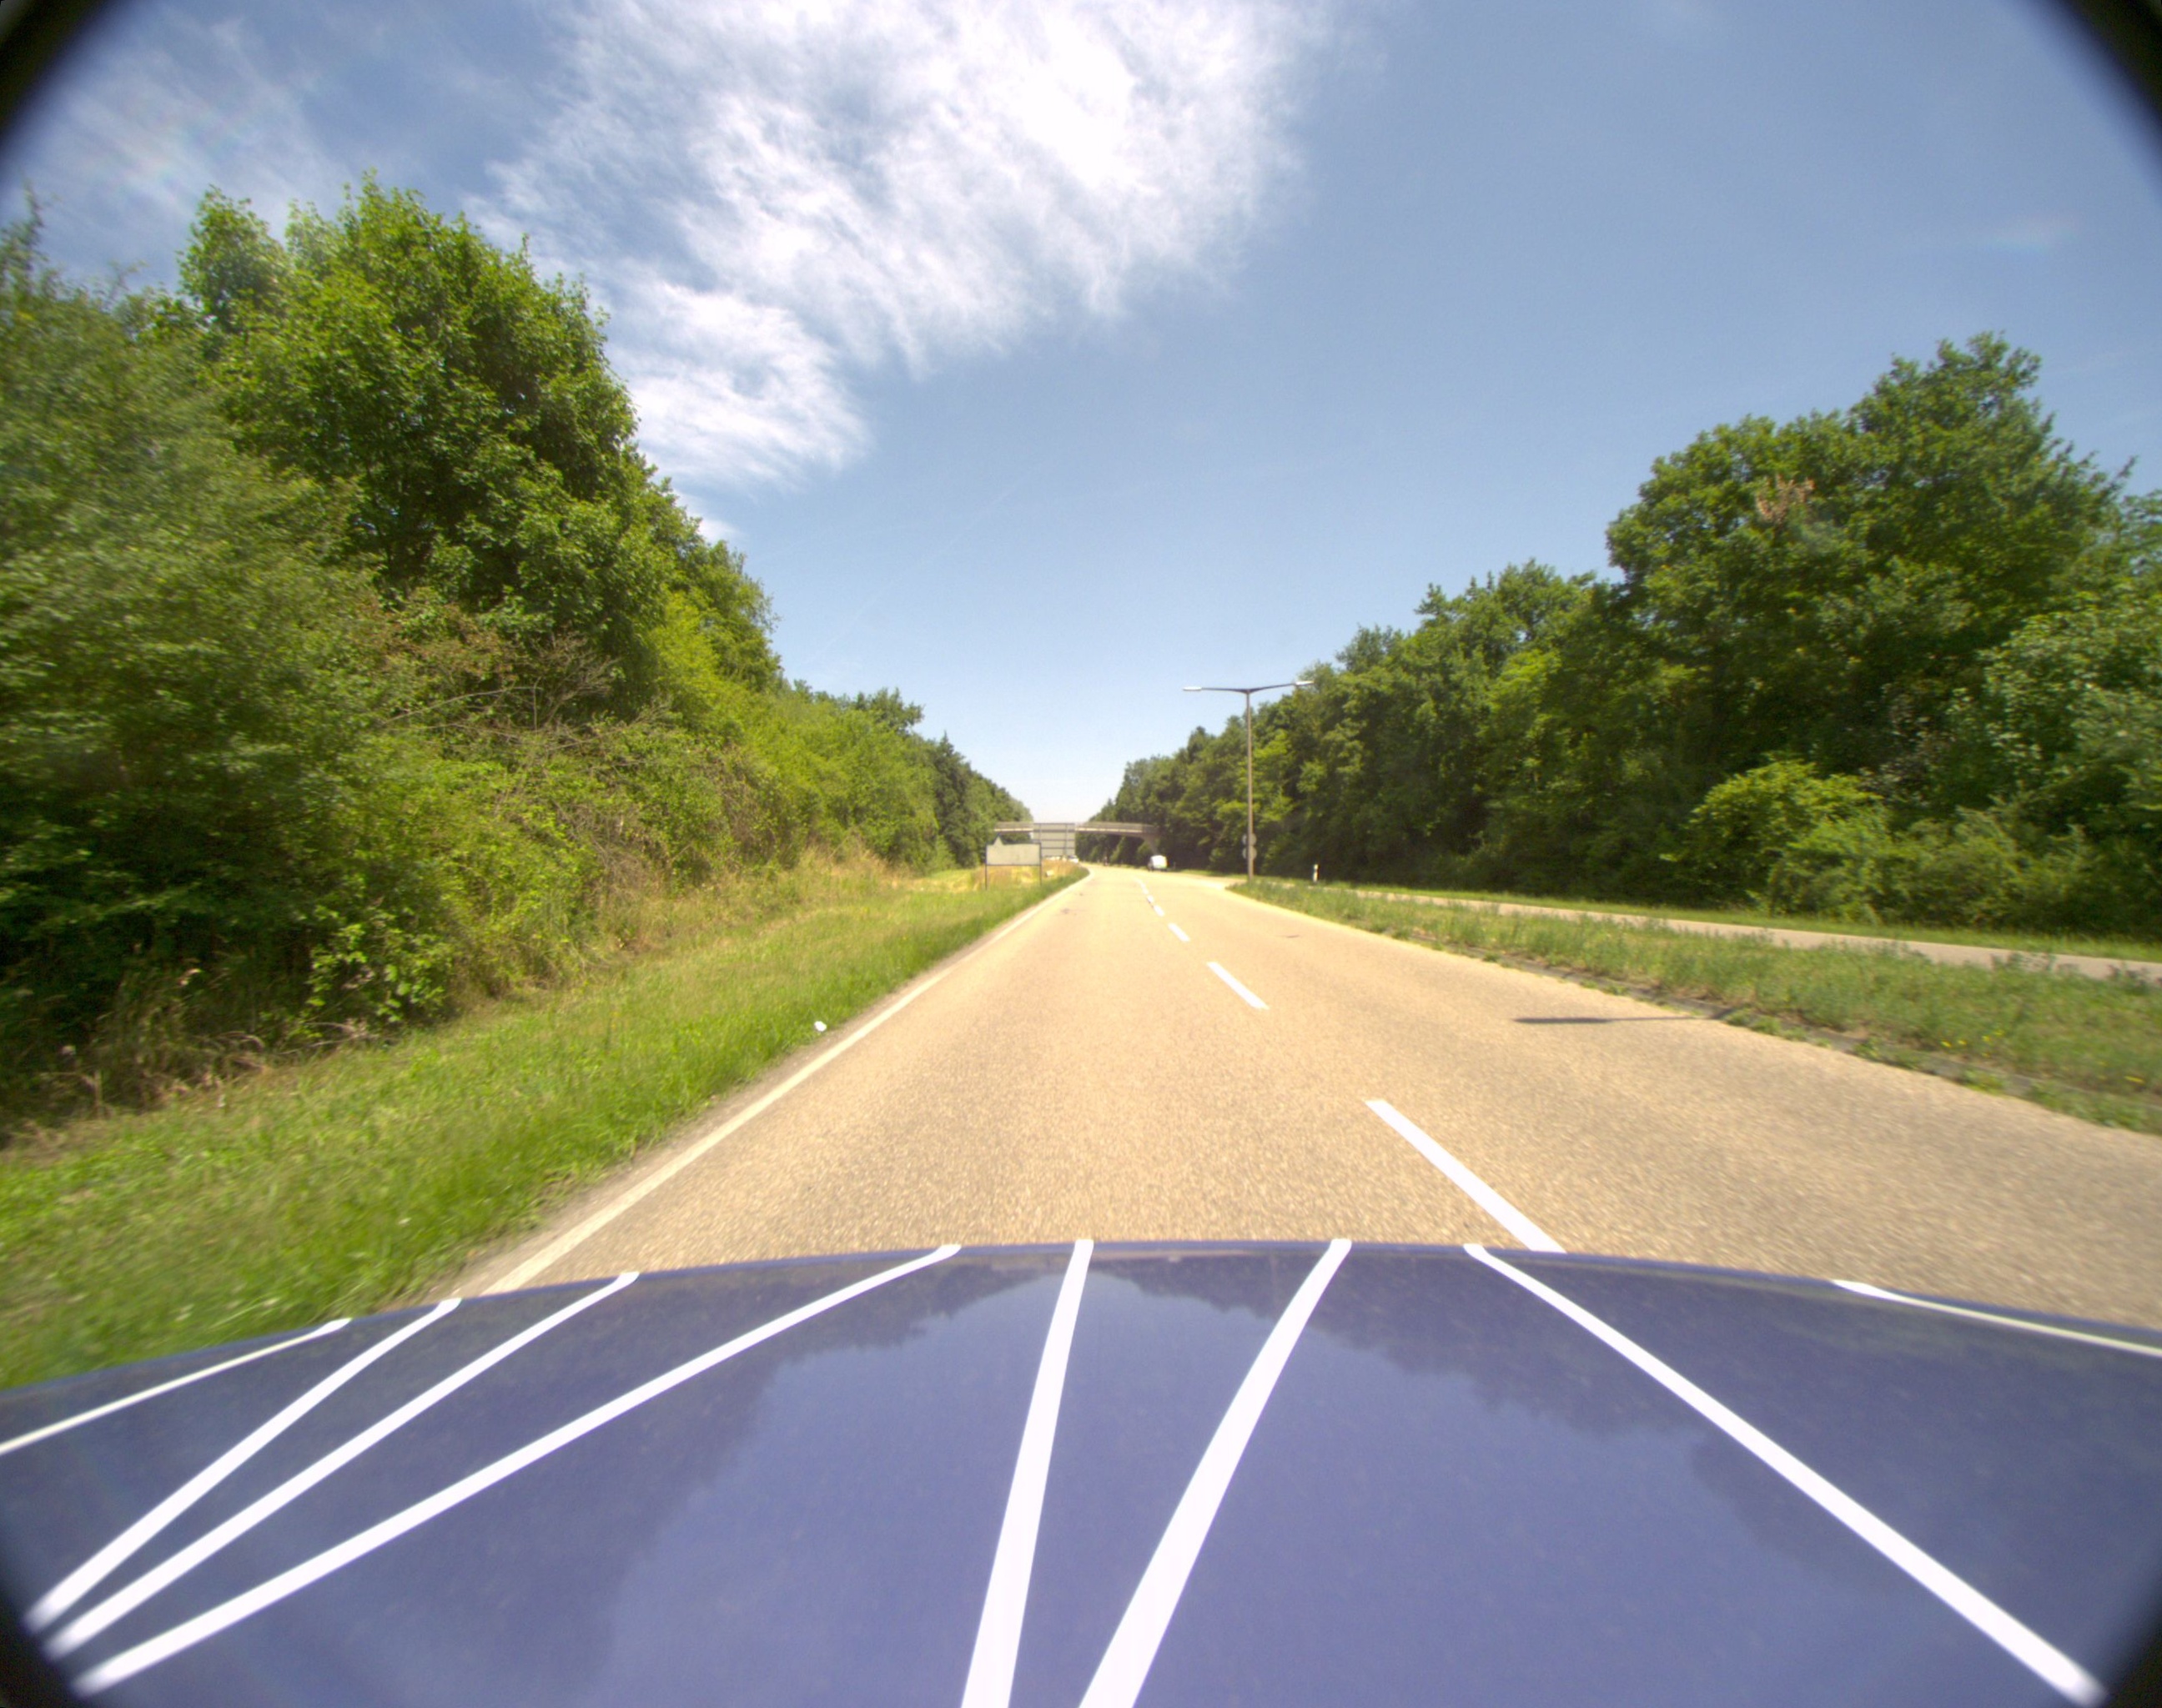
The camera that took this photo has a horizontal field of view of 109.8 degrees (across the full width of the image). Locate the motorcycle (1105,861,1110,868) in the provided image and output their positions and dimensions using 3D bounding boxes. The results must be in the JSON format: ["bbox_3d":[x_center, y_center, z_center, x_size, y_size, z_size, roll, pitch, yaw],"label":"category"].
[{"bbox_3d":[4.948,1.940,140.028,0.672,1.167,2.230,1,0,-5],"label":"motorcycle"}]

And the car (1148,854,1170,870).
[{"bbox_3d":[8.847,0.896,86.284,1.737,1.678,4.093,2,0,-4],"label":"car"}]

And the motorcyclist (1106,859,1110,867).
[{"bbox_3d":[4.933,1.663,139.924,0.672,1.467,0.813,1,1,-6],"label":"motorcyclist"}]

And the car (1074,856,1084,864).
[{"bbox_3d":[-0.465,1.270,168.739,1.866,1.747,3.998,1,0,-4],"label":"car"}]
